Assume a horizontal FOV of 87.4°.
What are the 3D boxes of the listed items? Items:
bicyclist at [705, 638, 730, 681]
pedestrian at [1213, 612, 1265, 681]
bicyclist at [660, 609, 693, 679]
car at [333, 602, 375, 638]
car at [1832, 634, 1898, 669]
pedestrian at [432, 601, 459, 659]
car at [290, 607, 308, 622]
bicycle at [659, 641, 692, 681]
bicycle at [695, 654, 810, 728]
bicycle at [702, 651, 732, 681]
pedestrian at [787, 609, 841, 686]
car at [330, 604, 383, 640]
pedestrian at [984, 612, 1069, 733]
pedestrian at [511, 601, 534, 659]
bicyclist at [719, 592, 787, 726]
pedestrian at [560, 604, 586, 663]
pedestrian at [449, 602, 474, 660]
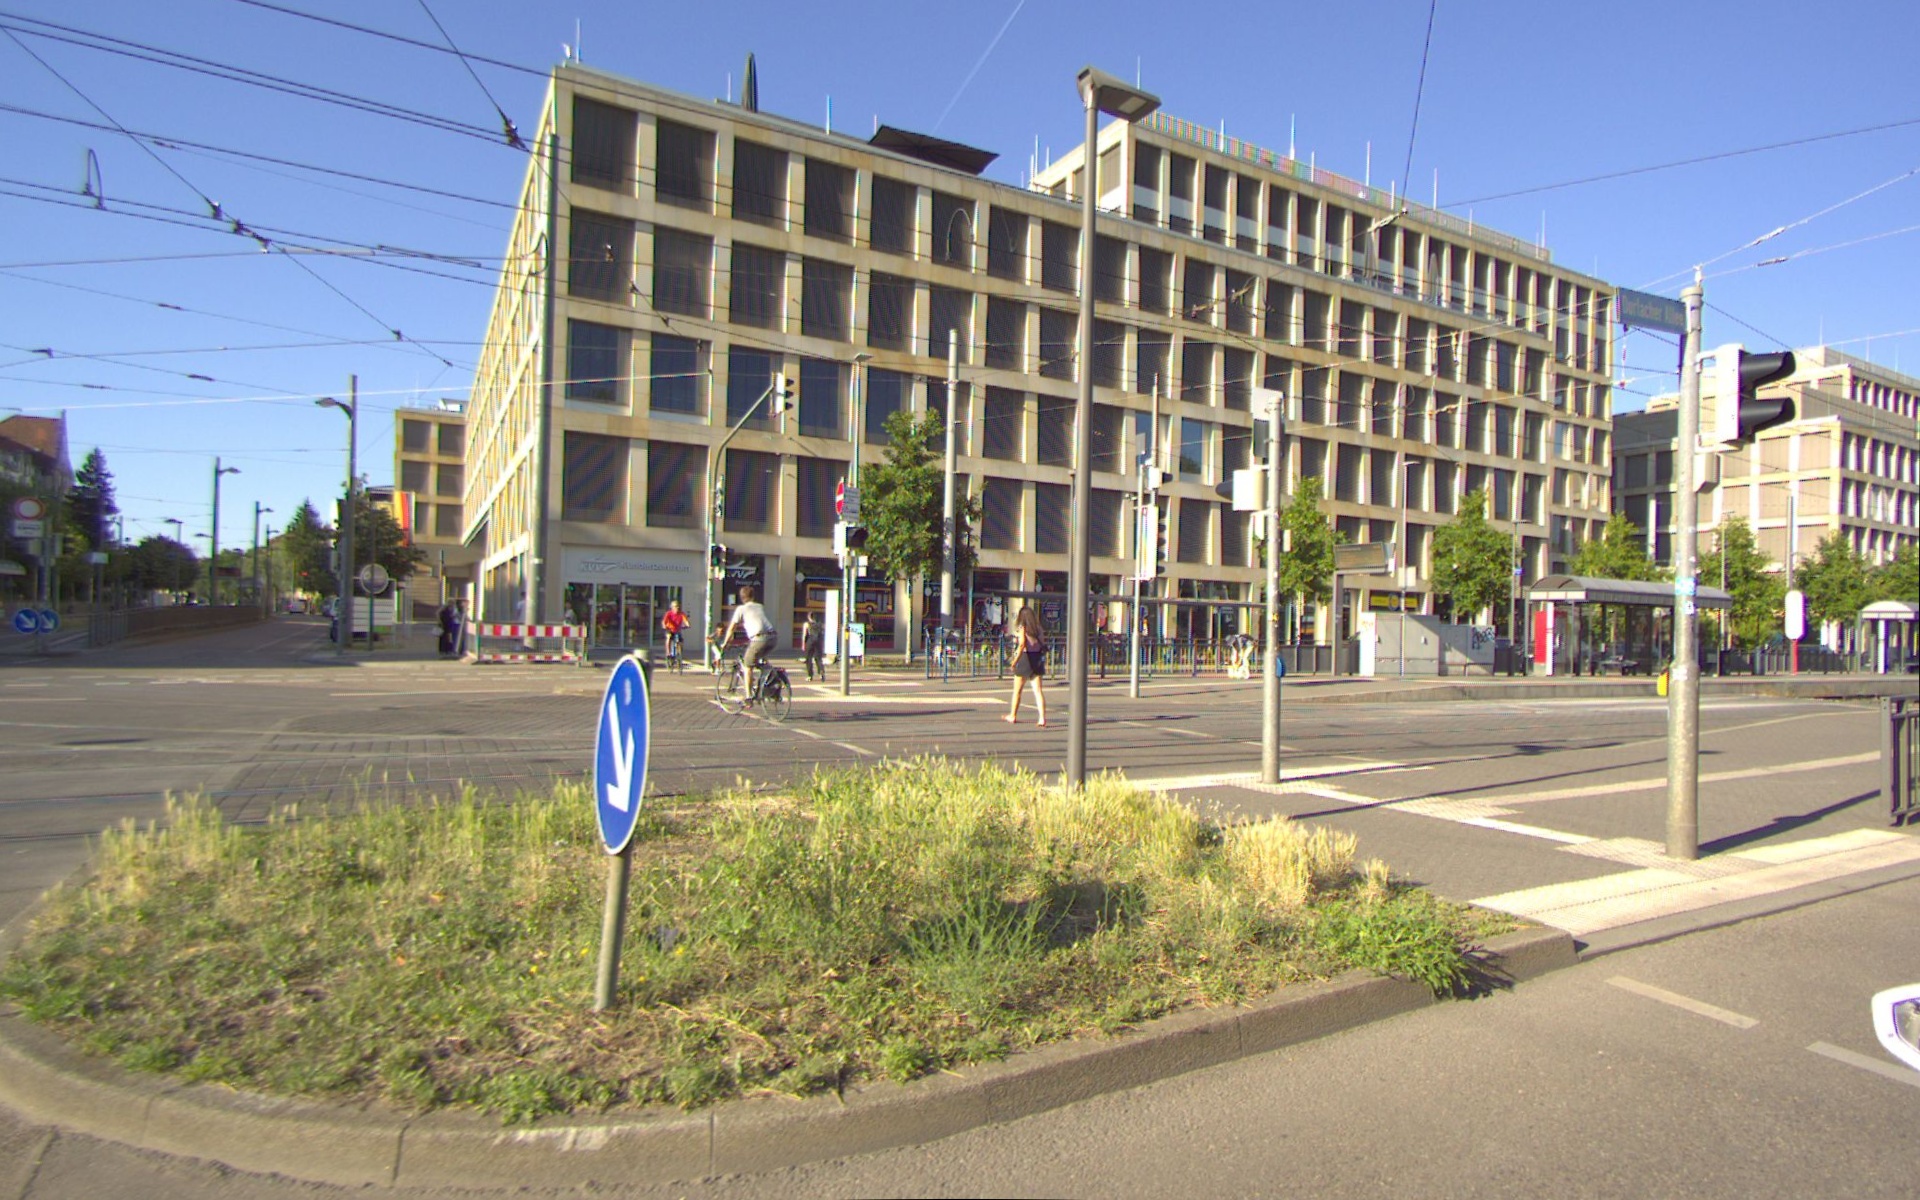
[{"bbox_3d":[-5.782,1.410,23.933,0.503,1.006,0.461,1,-1,-20],"label":"bicyclist"},{"bbox_3d":[6.939,1.154,24.990,0.921,1.666,0.791,2,-1,-28],"label":"pedestrian"},{"bbox_3d":[-6.807,1.056,24.114,0.674,1.640,0.627,1,-1,-21],"label":"bicyclist"},{"bbox_3d":[-29.452,0.969,48.861,1.631,1.683,3.620,2,-1,-31],"label":"car"},{"bbox_3d":[55.420,3.147,61.484,3.955,2.040,1.983,2,-1,-31],"label":"car"},{"bbox_3d":[-15.536,0.904,30.318,0.632,1.704,0.611,2,-1,-32],"label":"pedestrian"},{"bbox_3d":[-94.607,2.065,143.820,1.977,2.040,3.967,2,-1,-31],"label":"car"},{"bbox_3d":[-6.940,1.462,24.469,0.598,0.889,1.882,1,-1,-20],"label":"bicycle"},{"bbox_3d":[-2.969,1.262,14.289,1.860,0.923,0.512,0,-2,39],"label":"bicycle"},{"bbox_3d":[-5.839,1.576,24.083,0.504,0.617,1.719,2,-1,-20],"label":"bicycle"},{"bbox_3d":[-3.270,1.045,22.439,0.790,1.666,0.921,2,-1,-42],"label":"pedestrian"},{"bbox_3d":[-26.369,0.969,43.921,1.869,1.483,3.967,2,-1,-31],"label":"car"},{"bbox_3d":[0.955,1.013,14.472,0.790,1.666,0.921,2,-1,-42],"label":"pedestrian"},{"bbox_3d":[-13.210,0.907,30.335,0.574,1.704,0.613,1,-1,-24],"label":"pedestrian"},{"bbox_3d":[-2.921,0.812,14.163,0.658,1.832,0.644,0,-1,40],"label":"bicyclist"},{"bbox_3d":[-11.422,0.976,29.626,0.576,1.704,0.612,2,-1,-31],"label":"pedestrian"},{"bbox_3d":[-14.837,0.909,29.890,0.576,1.704,0.612,2,-1,-31],"label":"pedestrian"}]
